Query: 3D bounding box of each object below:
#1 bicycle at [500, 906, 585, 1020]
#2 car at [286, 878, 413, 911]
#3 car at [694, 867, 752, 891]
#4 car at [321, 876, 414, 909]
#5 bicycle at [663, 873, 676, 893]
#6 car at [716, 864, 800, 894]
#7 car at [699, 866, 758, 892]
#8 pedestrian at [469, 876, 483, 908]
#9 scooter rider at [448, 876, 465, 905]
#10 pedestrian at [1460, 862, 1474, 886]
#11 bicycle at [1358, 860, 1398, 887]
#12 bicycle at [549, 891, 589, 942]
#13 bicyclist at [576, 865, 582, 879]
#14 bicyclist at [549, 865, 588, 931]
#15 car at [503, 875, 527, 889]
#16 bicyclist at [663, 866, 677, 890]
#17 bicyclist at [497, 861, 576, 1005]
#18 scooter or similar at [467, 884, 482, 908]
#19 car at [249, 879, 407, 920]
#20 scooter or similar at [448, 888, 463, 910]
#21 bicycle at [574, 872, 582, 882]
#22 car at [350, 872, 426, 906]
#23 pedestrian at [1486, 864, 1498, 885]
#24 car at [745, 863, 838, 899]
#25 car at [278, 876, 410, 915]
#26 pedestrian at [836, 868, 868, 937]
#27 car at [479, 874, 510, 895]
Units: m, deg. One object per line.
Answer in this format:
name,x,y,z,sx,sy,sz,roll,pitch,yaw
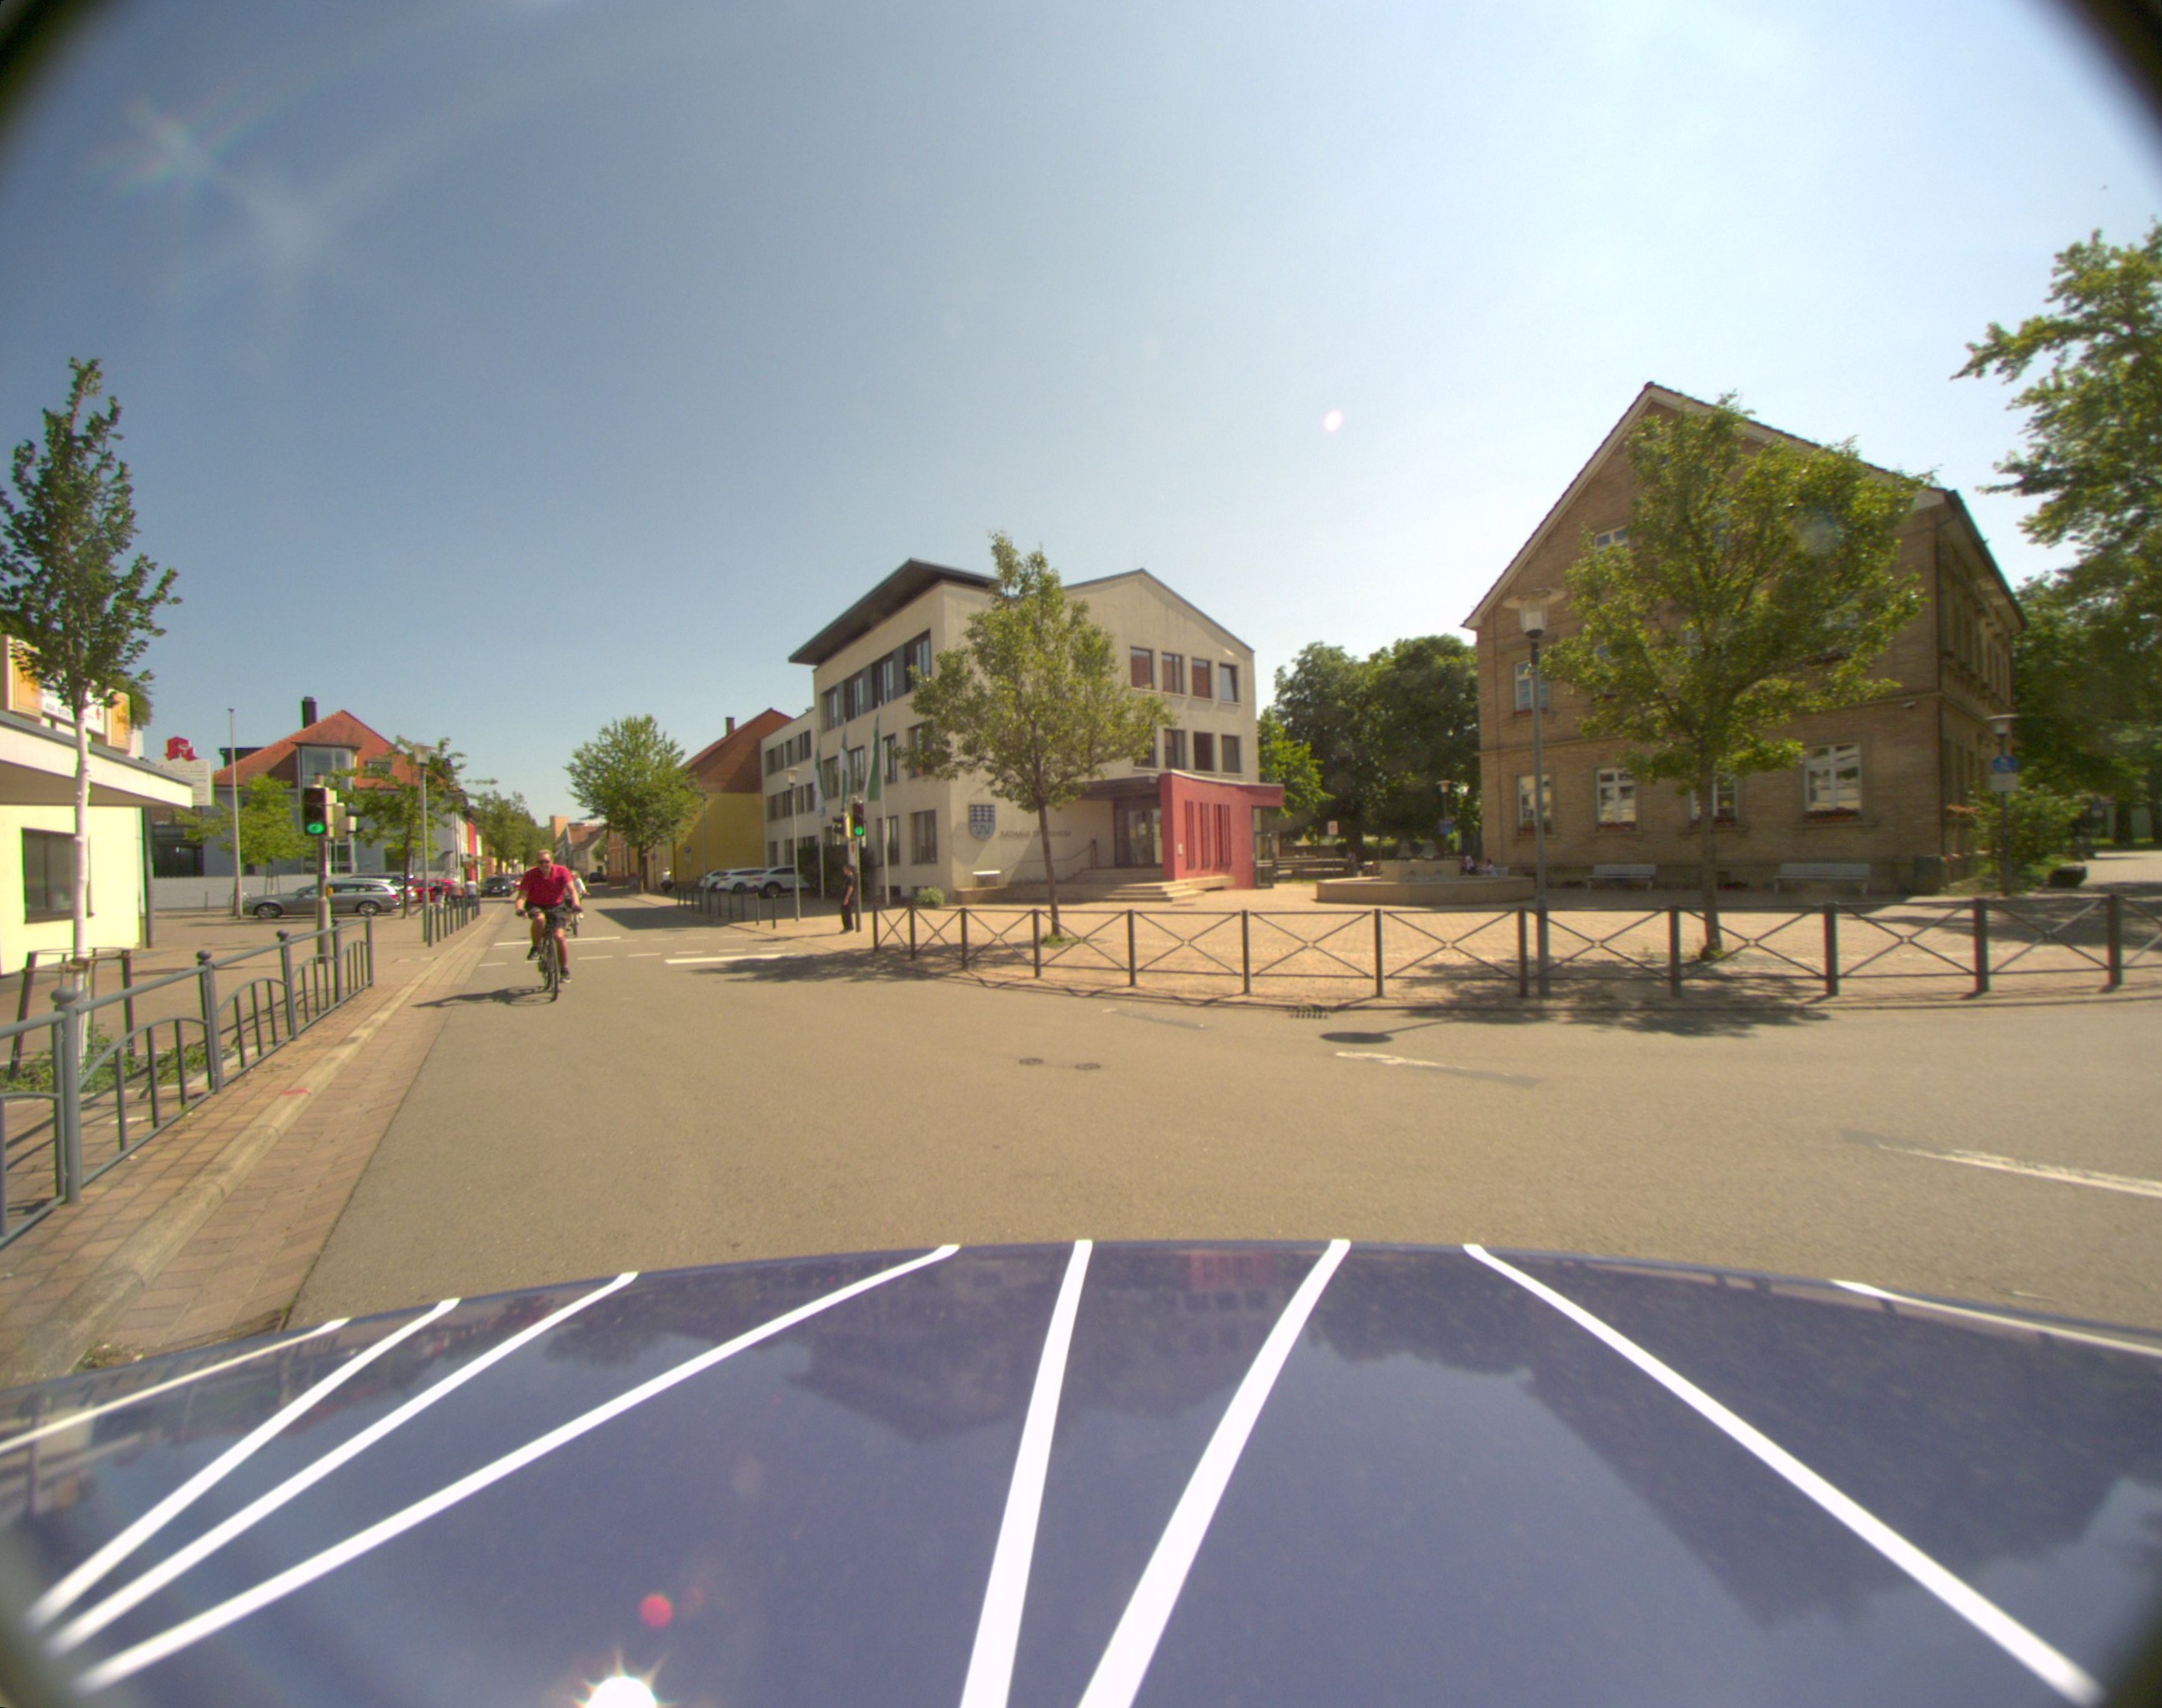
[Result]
bicycle,-6.812,1.295,9.574,0.740,1.182,1.966,-1,0,-39
car,-35.820,1.957,37.356,4.456,1.433,1.652,1,-1,-43
car,-24.106,1.669,51.135,3.266,1.393,1.371,-3,1,-37
car,-36.970,1.947,39.475,3.439,1.543,1.486,-1,0,-40
bicycle,-26.340,1.877,48.670,0.712,1.244,1.968,1,-1,-28
car,-19.309,1.470,45.487,4.334,1.470,1.509,-3,2,-35
car,-22.858,1.614,49.317,3.146,1.442,1.638,-3,1,-35
pedestrian,-29.043,1.827,36.462,0.514,1.507,1.045,0,-1,-41
scooter rider,-28.781,1.667,35.006,0.464,1.317,1.130,-1,0,-34
pedestrian,13.585,0.701,26.754,0.366,0.813,0.362,-1,0,38
bicycle,12.589,0.820,32.198,1.957,1.000,0.579,-4,2,-37
bicycle,-12.964,1.552,19.222,0.691,1.182,1.795,0,0,-39
bicyclist,-58.872,2.131,89.040,0.540,1.630,0.550,-1,0,-37
bicyclist,-12.985,1.090,19.255,0.704,1.572,0.876,-3,2,-38
car,-52.624,2.563,70.572,1.534,1.298,3.242,0,-1,-41
bicyclist,-26.366,1.515,48.765,0.717,1.497,0.869,-1,0,-29
bicyclist,-6.883,0.950,9.597,0.704,1.707,0.758,-3,2,-38
scooter or similar,-29.675,2.048,37.185,0.507,1.112,0.906,0,-1,-42
car,-30.500,1.806,30.996,4.456,1.457,1.686,0,0,-41
scooter or similar,-28.786,2.056,34.989,0.413,0.960,0.957,-1,1,-33
bicycle,-58.955,2.678,89.089,0.596,1.182,1.721,-2,1,-37
car,-37.787,1.886,41.517,3.048,1.726,1.341,0,-1,-41
pedestrian,14.129,0.698,26.132,0.288,0.728,0.358,-1,0,38
car,-14.698,1.334,38.650,4.007,1.539,1.744,-3,1,-37
car,-32.163,1.781,33.325,4.056,1.550,1.708,0,-1,-42
pedestrian,-5.465,1.143,18.157,0.549,1.609,0.557,-1,1,-1
car,-41.886,2.165,54.237,1.534,1.444,3.512,-1,0,-41
